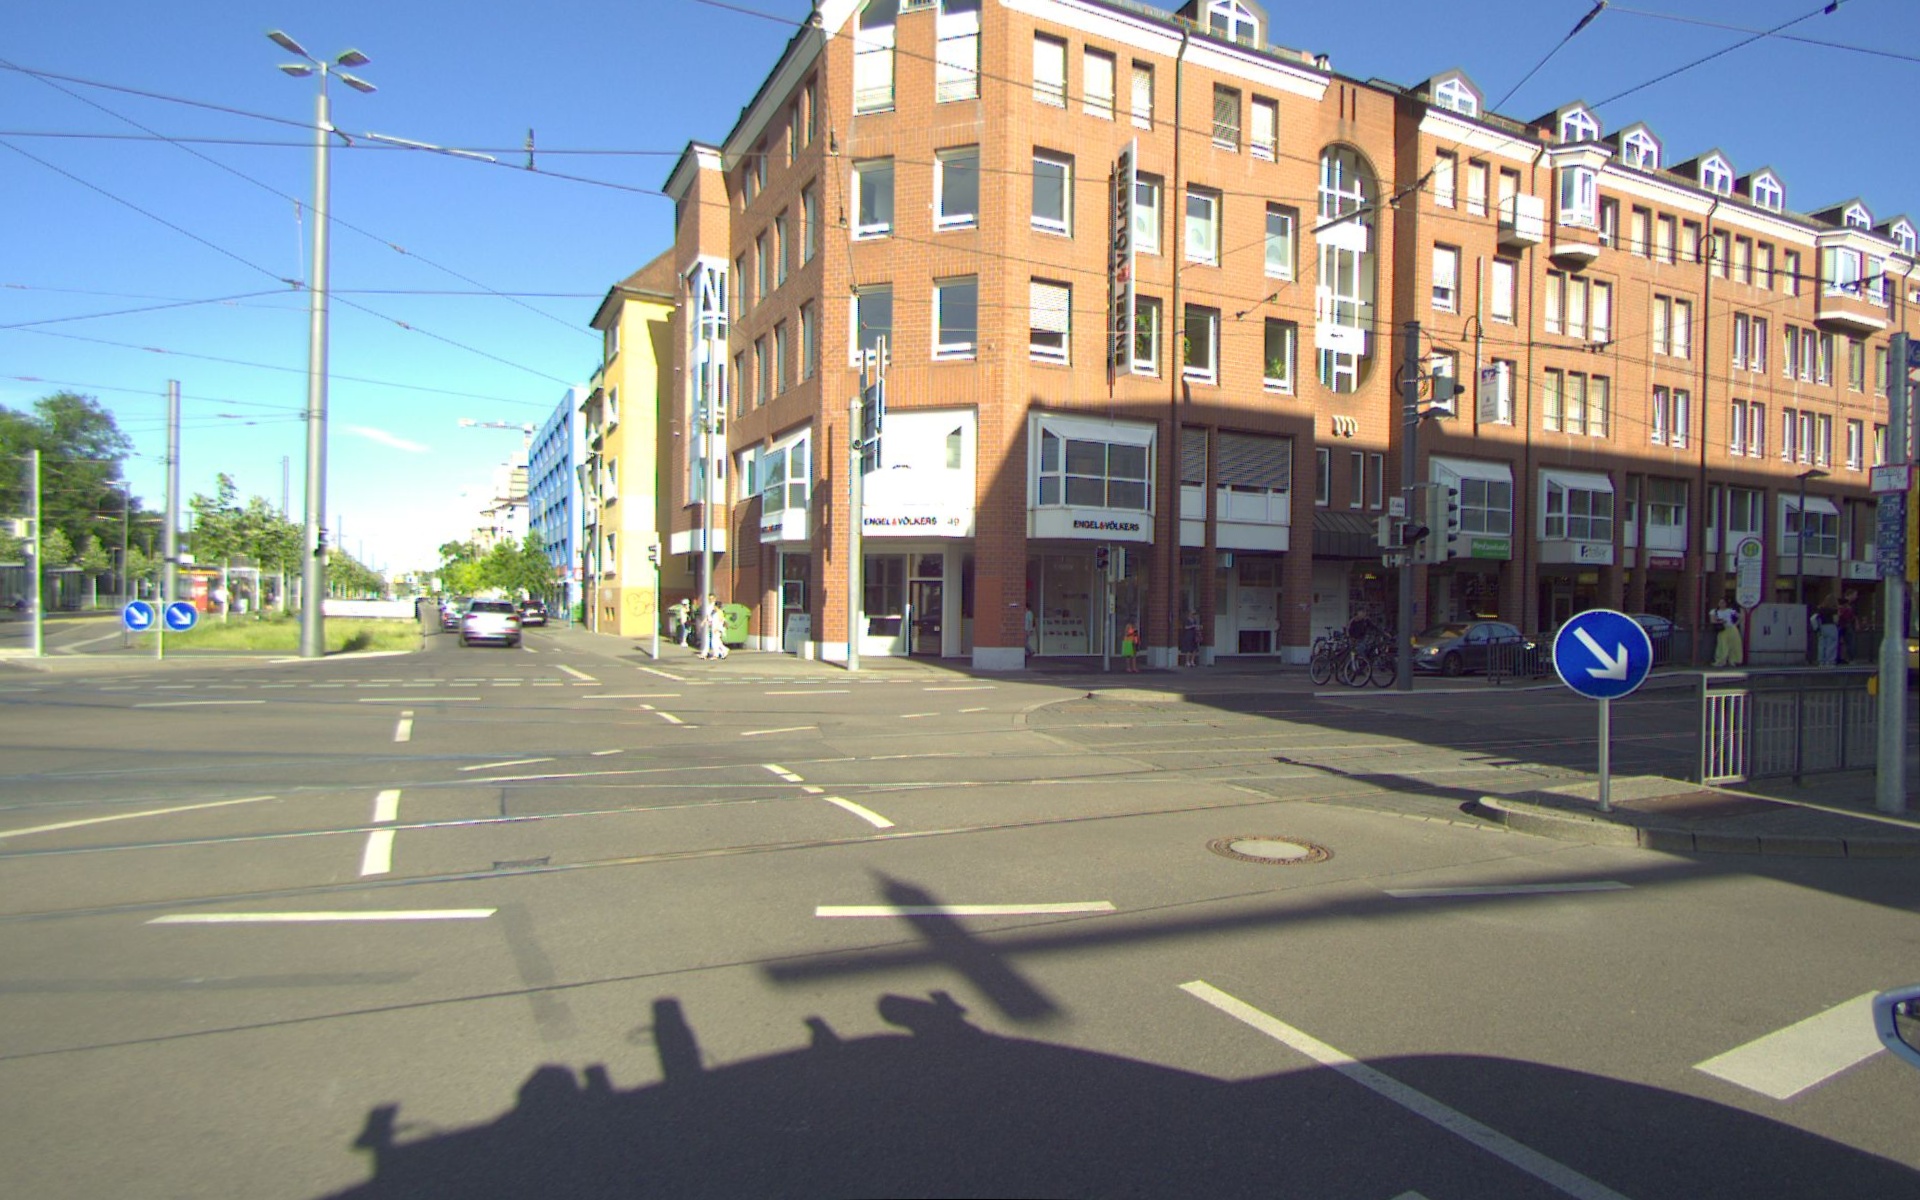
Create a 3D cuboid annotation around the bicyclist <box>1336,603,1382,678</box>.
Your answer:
[{"bbox_3d":[8.124,0.819,20.469,0.477,1.490,0.714,1,1,-28],"label":"bicyclist"}]

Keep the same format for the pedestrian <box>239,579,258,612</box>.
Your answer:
[{"bbox_3d":[-44.511,-0.264,62.817,0.916,2.037,1.001,1,1,-37],"label":"pedestrian"}]

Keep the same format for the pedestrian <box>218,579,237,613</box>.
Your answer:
[{"bbox_3d":[-45.331,-0.257,62.162,0.916,2.037,1.001,1,1,-37],"label":"pedestrian"}]

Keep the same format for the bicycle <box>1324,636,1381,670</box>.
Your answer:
[{"bbox_3d":[11.833,1.590,30.365,0.514,0.912,1.705,1,0,-25],"label":"bicycle"}]

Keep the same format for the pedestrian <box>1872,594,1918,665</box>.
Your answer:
[{"bbox_3d":[23.298,0.719,25.034,0.577,1.744,0.633,1,1,-25],"label":"pedestrian"}]

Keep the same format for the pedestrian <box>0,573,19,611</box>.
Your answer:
[{"bbox_3d":[-52.283,-0.438,54.884,1.076,2.040,1.006,1,1,-31],"label":"pedestrian"}]

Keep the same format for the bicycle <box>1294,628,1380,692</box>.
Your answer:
[{"bbox_3d":[7.559,1.177,20.210,0.486,1.173,1.703,1,0,-28],"label":"bicycle"}]

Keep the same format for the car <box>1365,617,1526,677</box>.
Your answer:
[{"bbox_3d":[12.723,1.208,26.324,3.926,1.473,1.811,1,-2,-27],"label":"car"}]

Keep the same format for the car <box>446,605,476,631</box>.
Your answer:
[{"bbox_3d":[-32.440,1.181,65.359,1.708,1.572,3.450,1,0,-26],"label":"car"}]

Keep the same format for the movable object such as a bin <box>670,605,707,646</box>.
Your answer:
[{"bbox_3d":[-10.021,0.927,37.100,1.084,1.456,0.990,1,1,-31],"label":"movable object such as a bin"}]

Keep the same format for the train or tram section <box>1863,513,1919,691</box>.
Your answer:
[{"bbox_3d":[24.031,0.131,21.874,9.948,3.590,2.721,1,0,-25],"label":"train or tram section"}]

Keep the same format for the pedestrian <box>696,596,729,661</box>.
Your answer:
[{"bbox_3d":[-6.772,0.768,27.464,0.703,1.750,0.684,1,1,-31],"label":"pedestrian"}]

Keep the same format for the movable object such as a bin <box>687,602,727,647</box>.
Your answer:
[{"bbox_3d":[-8.601,0.821,34.121,1.084,1.456,0.990,1,1,-31],"label":"movable object such as a bin"}]

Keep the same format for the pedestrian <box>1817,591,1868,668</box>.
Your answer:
[{"bbox_3d":[20.224,0.672,23.026,0.626,1.744,0.584,1,1,-10],"label":"pedestrian"}]

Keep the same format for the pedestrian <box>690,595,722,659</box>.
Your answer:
[{"bbox_3d":[-7.123,0.758,28.152,0.703,1.750,0.684,1,1,-31],"label":"pedestrian"}]

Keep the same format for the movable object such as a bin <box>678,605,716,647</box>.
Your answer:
[{"bbox_3d":[-9.475,0.921,36.177,1.084,1.456,0.990,1,1,-31],"label":"movable object such as a bin"}]

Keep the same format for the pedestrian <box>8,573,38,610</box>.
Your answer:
[{"bbox_3d":[-53.307,-0.485,57.167,0.881,2.037,0.922,1,1,-14],"label":"pedestrian"}]

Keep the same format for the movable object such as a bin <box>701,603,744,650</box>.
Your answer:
[{"bbox_3d":[-7.607,0.825,32.149,1.084,1.456,0.990,1,1,-31],"label":"movable object such as a bin"}]

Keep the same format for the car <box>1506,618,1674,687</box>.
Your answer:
[{"bbox_3d":[15.254,1.233,24.310,3.743,1.564,1.811,1,-2,-27],"label":"car"}]

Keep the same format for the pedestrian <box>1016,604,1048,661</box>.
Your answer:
[{"bbox_3d":[2.089,0.927,28.932,0.846,1.589,0.887,1,0,7],"label":"pedestrian"}]

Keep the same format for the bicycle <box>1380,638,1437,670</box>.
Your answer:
[{"bbox_3d":[14.048,1.678,31.492,0.514,0.912,1.705,1,0,-25],"label":"bicycle"}]

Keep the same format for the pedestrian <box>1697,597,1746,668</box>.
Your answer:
[{"bbox_3d":[17.268,0.723,22.771,0.575,1.585,0.636,1,1,-12],"label":"pedestrian"}]

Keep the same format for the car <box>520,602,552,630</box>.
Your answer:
[{"bbox_3d":[-26.619,0.966,62.984,1.544,1.639,3.293,1,0,-28],"label":"car"}]

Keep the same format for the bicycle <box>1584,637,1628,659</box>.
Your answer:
[{"bbox_3d":[29.951,2.220,46.577,0.514,0.912,1.705,1,0,-25],"label":"bicycle"}]

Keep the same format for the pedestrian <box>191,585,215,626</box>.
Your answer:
[{"bbox_3d":[-38.611,0.283,51.250,0.792,2.037,0.802,1,1,-26],"label":"pedestrian"}]

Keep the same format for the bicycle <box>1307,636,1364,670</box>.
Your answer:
[{"bbox_3d":[11.205,1.579,30.032,0.514,0.912,1.705,1,0,-25],"label":"bicycle"}]

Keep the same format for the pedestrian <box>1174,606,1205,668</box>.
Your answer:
[{"bbox_3d":[6.373,1.029,27.913,0.545,1.693,0.618,1,1,-28],"label":"pedestrian"}]

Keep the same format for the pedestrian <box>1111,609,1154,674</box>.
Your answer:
[{"bbox_3d":[4.517,1.076,26.333,0.766,1.616,0.710,1,3,-24],"label":"pedestrian"}]

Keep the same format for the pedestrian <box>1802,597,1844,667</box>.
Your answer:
[{"bbox_3d":[19.487,0.721,22.684,0.631,1.551,0.579,1,1,-36],"label":"pedestrian"}]

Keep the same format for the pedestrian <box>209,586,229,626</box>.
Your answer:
[{"bbox_3d":[-37.829,0.294,51.305,0.795,2.037,0.799,1,1,-37],"label":"pedestrian"}]

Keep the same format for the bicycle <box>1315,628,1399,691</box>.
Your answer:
[{"bbox_3d":[8.085,1.181,20.519,0.486,1.173,1.670,1,0,-27],"label":"bicycle"}]

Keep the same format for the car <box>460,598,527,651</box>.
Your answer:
[{"bbox_3d":[-15.980,0.806,34.308,1.823,1.657,3.459,1,0,-29],"label":"car"}]

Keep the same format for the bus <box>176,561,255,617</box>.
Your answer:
[{"bbox_3d":[-51.417,-0.763,69.645,2.915,3.611,9.359,1,0,-28],"label":"bus"}]

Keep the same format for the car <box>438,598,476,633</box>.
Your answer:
[{"bbox_3d":[-25.105,0.736,50.063,1.558,1.639,3.754,1,0,-29],"label":"car"}]
